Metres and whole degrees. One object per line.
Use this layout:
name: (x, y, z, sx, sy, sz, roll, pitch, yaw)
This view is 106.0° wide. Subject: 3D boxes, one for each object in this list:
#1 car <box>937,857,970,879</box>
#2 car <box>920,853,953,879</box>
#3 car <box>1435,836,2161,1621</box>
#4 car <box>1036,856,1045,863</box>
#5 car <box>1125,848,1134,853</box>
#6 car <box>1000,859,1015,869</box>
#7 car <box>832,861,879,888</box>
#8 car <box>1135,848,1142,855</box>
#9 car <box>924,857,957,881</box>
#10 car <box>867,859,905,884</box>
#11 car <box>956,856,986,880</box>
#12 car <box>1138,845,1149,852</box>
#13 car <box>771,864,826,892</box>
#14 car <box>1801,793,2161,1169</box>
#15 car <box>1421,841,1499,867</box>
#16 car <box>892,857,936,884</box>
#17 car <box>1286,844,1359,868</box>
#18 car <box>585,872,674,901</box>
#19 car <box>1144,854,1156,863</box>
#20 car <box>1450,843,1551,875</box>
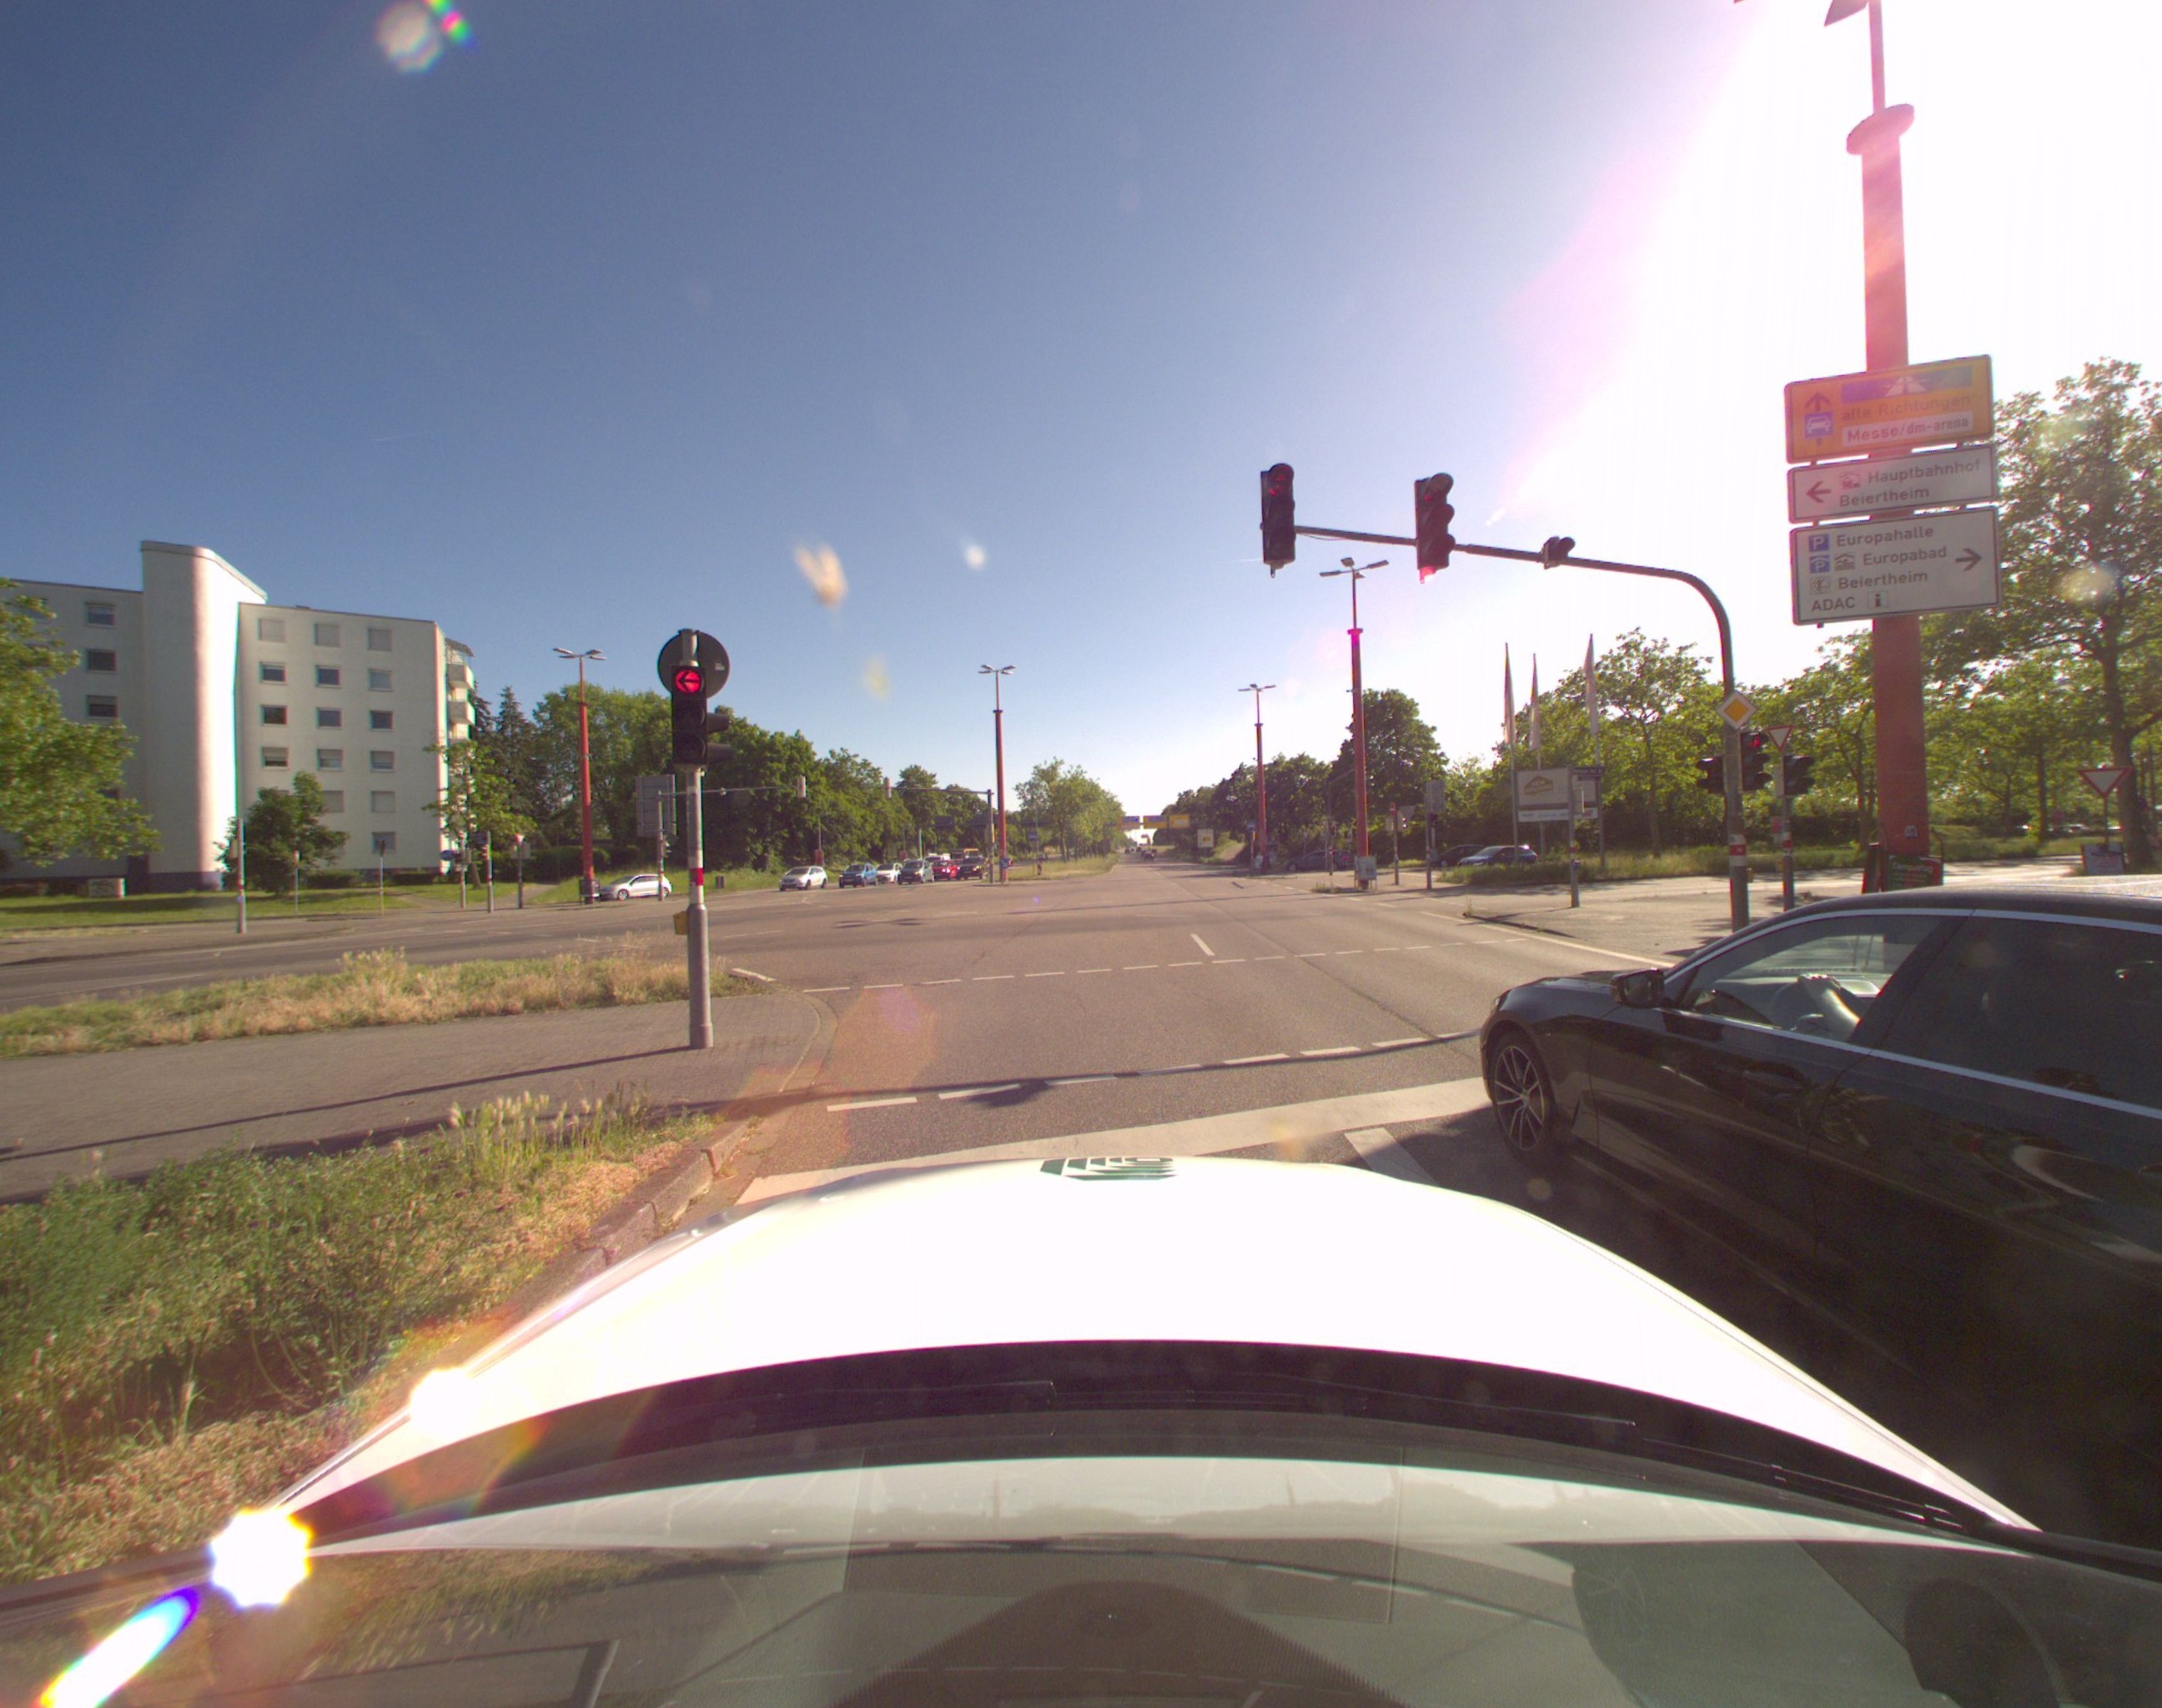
car: (-10.060, 1.090, 64.660, 1.988, 1.573, 4.118, -2, 0, -1)
car: (-12.729, 1.050, 71.993, 2.055, 2.193, 4.377, -2, 0, 0)
car: (2.958, 0.663, 2.380, 1.986, 1.394, 4.479, -2, 0, 2)
car: (-9.330, 1.332, 188.818, 1.872, 1.573, 3.943, -2, 0, -2)
car: (14.297, -1.005, 241.913, 2.241, 1.573, 4.276, -2, 0, -3)
car: (-11.819, 1.558, 131.517, 1.814, 1.454, 3.658, -2, 0, 2)
car: (-14.231, 1.280, 51.648, 1.989, 1.573, 4.116, -2, 0, -3)
car: (18.191, -0.783, 258.100, 1.986, 2.013, 4.002, -2, 0, 2)
car: (-10.098, 1.043, 58.878, 1.991, 1.573, 4.112, -2, 0, -6)
car: (-13.733, 1.212, 57.530, 1.991, 1.573, 4.112, -3, 0, -6)
car: (-7.560, 0.936, 56.496, 1.874, 1.573, 4.112, -2, 0, -6)
car: (15.081, -1.397, 195.807, 2.153, 1.573, 4.277, -2, 0, -2)
car: (-17.688, 1.462, 51.188, 1.987, 1.573, 4.120, -2, 0, 0)
car: (5.805, 0.558, 3.268, 1.959, 1.686, 4.479, -1, 0, 2)
car: (25.461, 0.030, 54.831, 4.251, 1.573, 2.166, -2, 0, 1)
car: (-10.727, 1.042, 52.587, 1.988, 1.573, 4.119, -2, 0, -1)
car: (17.353, 0.170, 58.673, 4.523, 1.573, 2.180, -2, 0, 35)
car: (-25.766, 1.849, 46.638, 1.778, 1.452, 4.244, -2, 0, 22)
car: (12.894, 0.792, 152.361, 2.149, 1.573, 4.285, -2, 0, 4)
car: (20.718, 0.235, 40.254, 4.276, 1.428, 1.874, -2, 0, -16)
